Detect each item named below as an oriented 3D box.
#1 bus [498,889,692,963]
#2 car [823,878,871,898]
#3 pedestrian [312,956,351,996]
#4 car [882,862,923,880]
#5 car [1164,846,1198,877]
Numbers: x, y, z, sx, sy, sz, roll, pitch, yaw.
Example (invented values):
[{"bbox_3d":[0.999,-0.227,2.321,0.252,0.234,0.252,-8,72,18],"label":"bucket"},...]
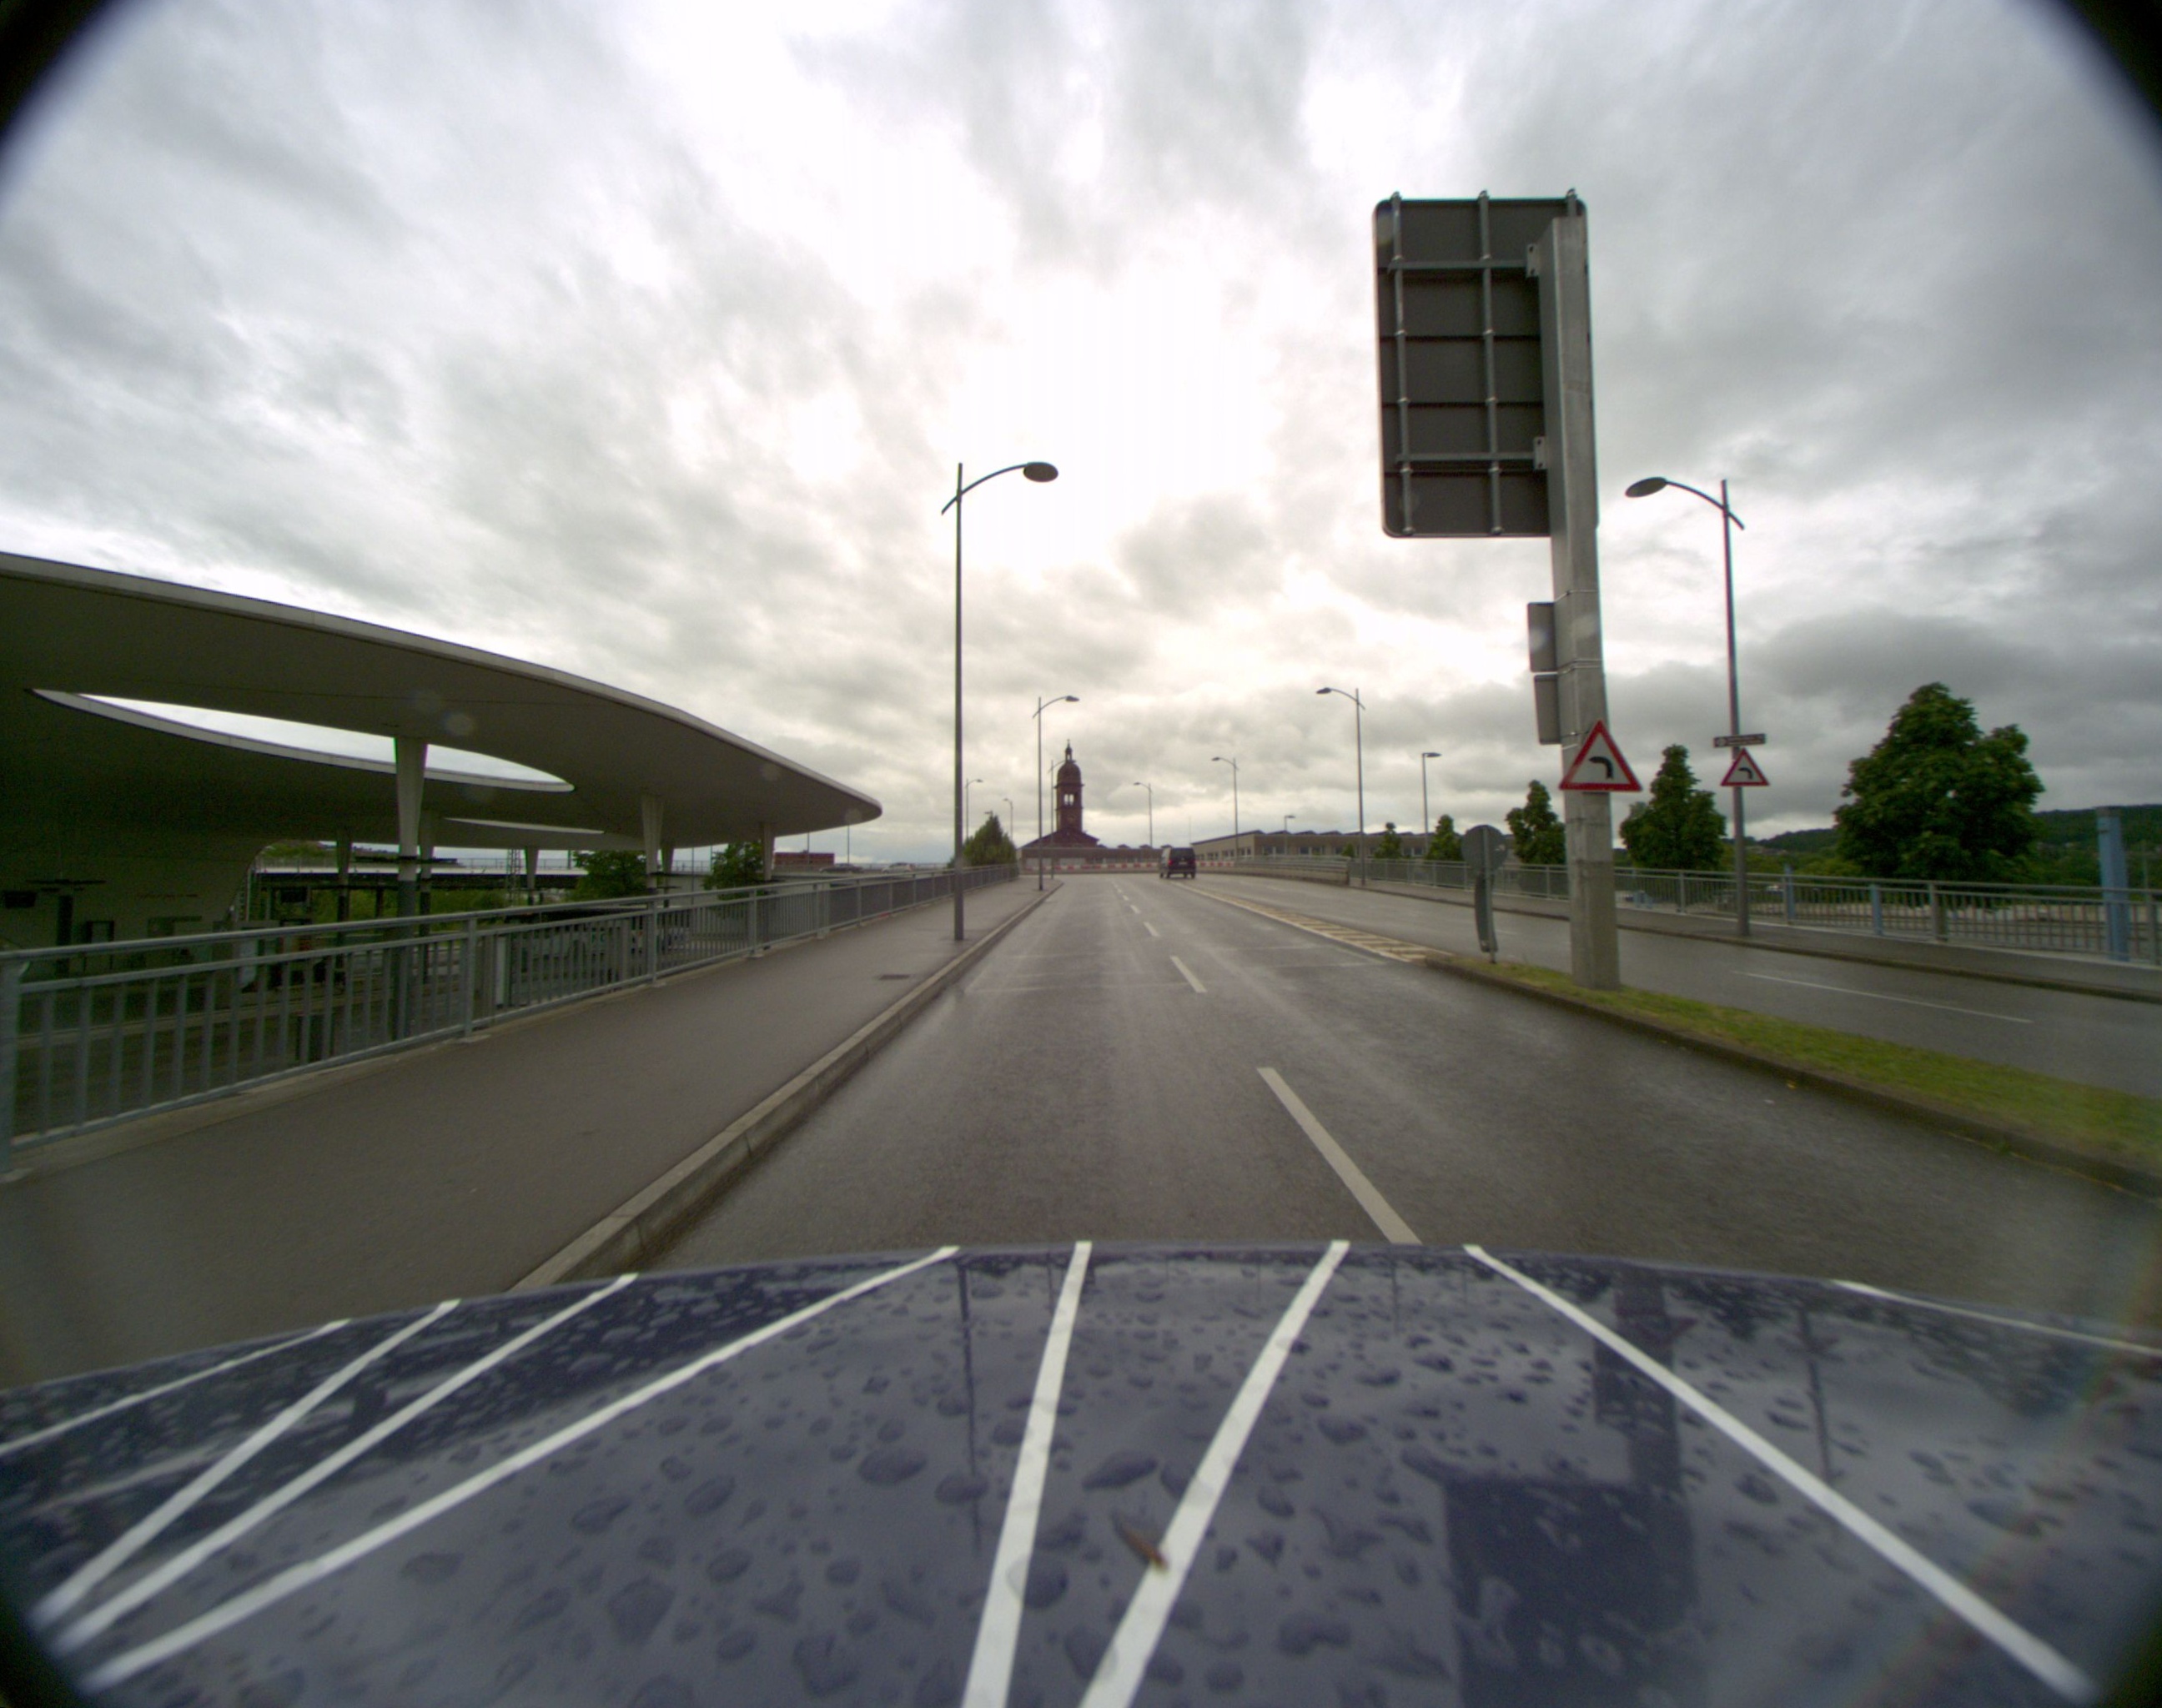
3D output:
[{"bbox_3d":[-29.732,4.221,47.649,2.794,3.238,12.147,-3,1,8],"label":"bus"},{"bbox_3d":[-25.832,3.725,83.948,4.682,1.955,2.115,-2,-1,-2],"label":"car"},{"bbox_3d":[-24.290,3.954,24.626,0.536,1.157,0.669,-3,1,-2],"label":"pedestrian"},{"bbox_3d":[-20.629,1.961,87.922,4.206,1.955,1.852,-2,-1,4],"label":"car"},{"bbox_3d":[6.518,0.434,49.796,1.849,1.956,4.686,0,1,3],"label":"car"}]
